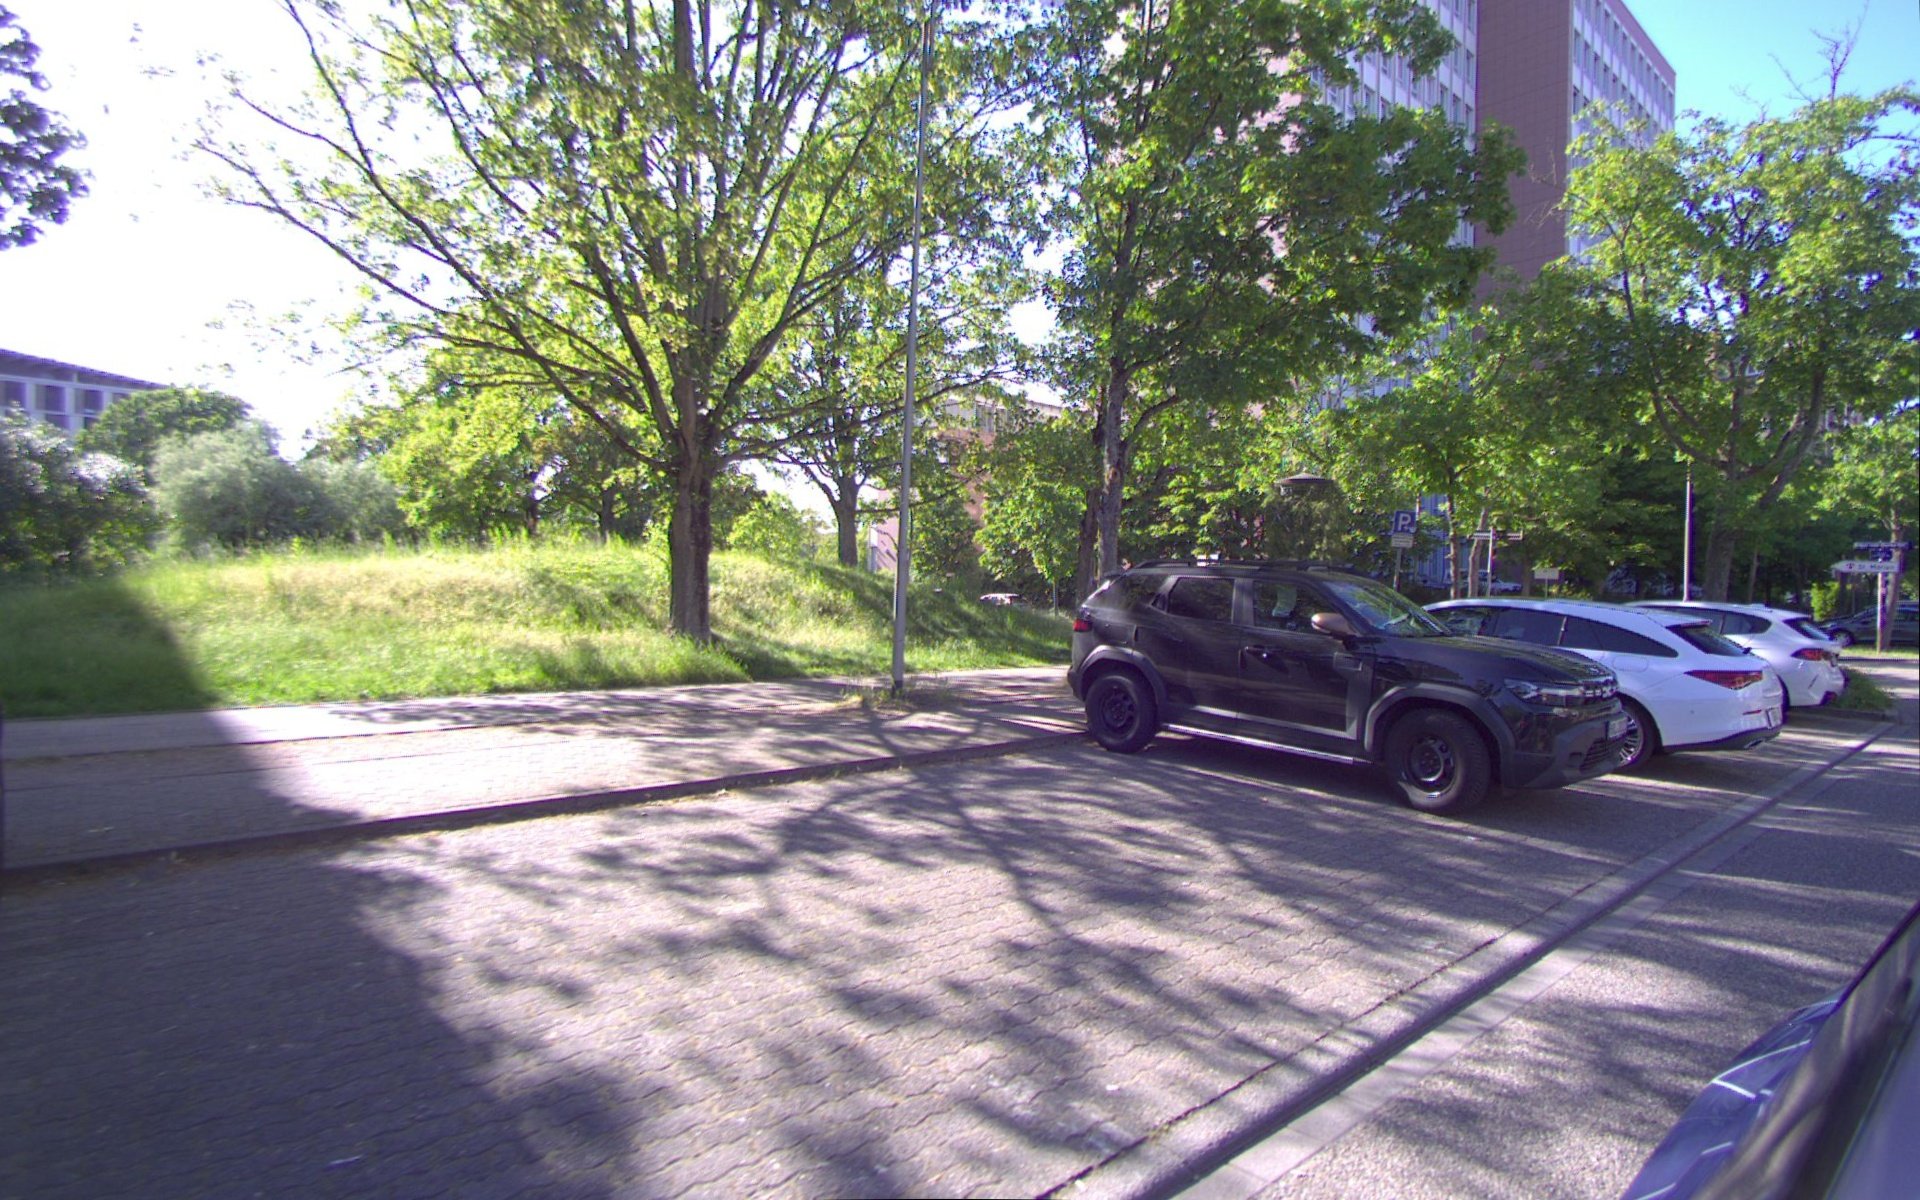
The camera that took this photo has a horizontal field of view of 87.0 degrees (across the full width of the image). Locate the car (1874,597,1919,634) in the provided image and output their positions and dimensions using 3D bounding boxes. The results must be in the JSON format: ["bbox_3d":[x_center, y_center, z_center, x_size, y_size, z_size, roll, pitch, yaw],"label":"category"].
[{"bbox_3d":[43.372,0.731,44.577,1.828,1.573,4.427,0,1,-42],"label":"car"}]

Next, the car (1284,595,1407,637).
[{"bbox_3d":[14.458,0.553,38.088,1.739,1.466,3.994,-1,1,-40],"label":"car"}]

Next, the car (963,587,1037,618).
[{"bbox_3d":[2.035,0.094,51.946,1.681,1.512,3.766,0,0,-41],"label":"car"}]

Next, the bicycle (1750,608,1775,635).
[{"bbox_3d":[30.471,0.803,38.412,1.921,1.006,0.303,0,0,-38],"label":"bicycle"}]

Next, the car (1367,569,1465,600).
[{"bbox_3d":[23.294,-0.803,51.793,4.224,1.525,1.697,2,1,43],"label":"car"}]

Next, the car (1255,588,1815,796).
[{"bbox_3d":[5.328,0.674,9.896,1.786,1.564,4.449,0,0,-41],"label":"car"}]

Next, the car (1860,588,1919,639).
[{"bbox_3d":[34.882,0.517,36.250,1.693,1.772,3.682,0,2,-39],"label":"car"}]

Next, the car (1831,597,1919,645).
[{"bbox_3d":[32.753,0.788,34.944,1.565,1.464,3.840,3,2,-44],"label":"car"}]

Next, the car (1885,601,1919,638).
[{"bbox_3d":[41.230,0.886,42.171,1.693,1.499,3.721,0,2,-38],"label":"car"}]

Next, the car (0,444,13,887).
[{"bbox_3d":[-3.610,0.359,2.261,1.965,1.801,4.597,0,3,-41],"label":"car"}]

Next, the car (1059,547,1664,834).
[{"bbox_3d":[2.909,0.442,8.054,1.705,1.637,4.124,-1,4,-43],"label":"car"}]

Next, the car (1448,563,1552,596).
[{"bbox_3d":[29.532,-1.146,55.446,1.845,1.707,4.719,1,1,-45],"label":"car"}]

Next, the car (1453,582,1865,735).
[{"bbox_3d":[9.593,0.666,14.183,1.806,1.612,4.433,0,3,-43],"label":"car"}]
